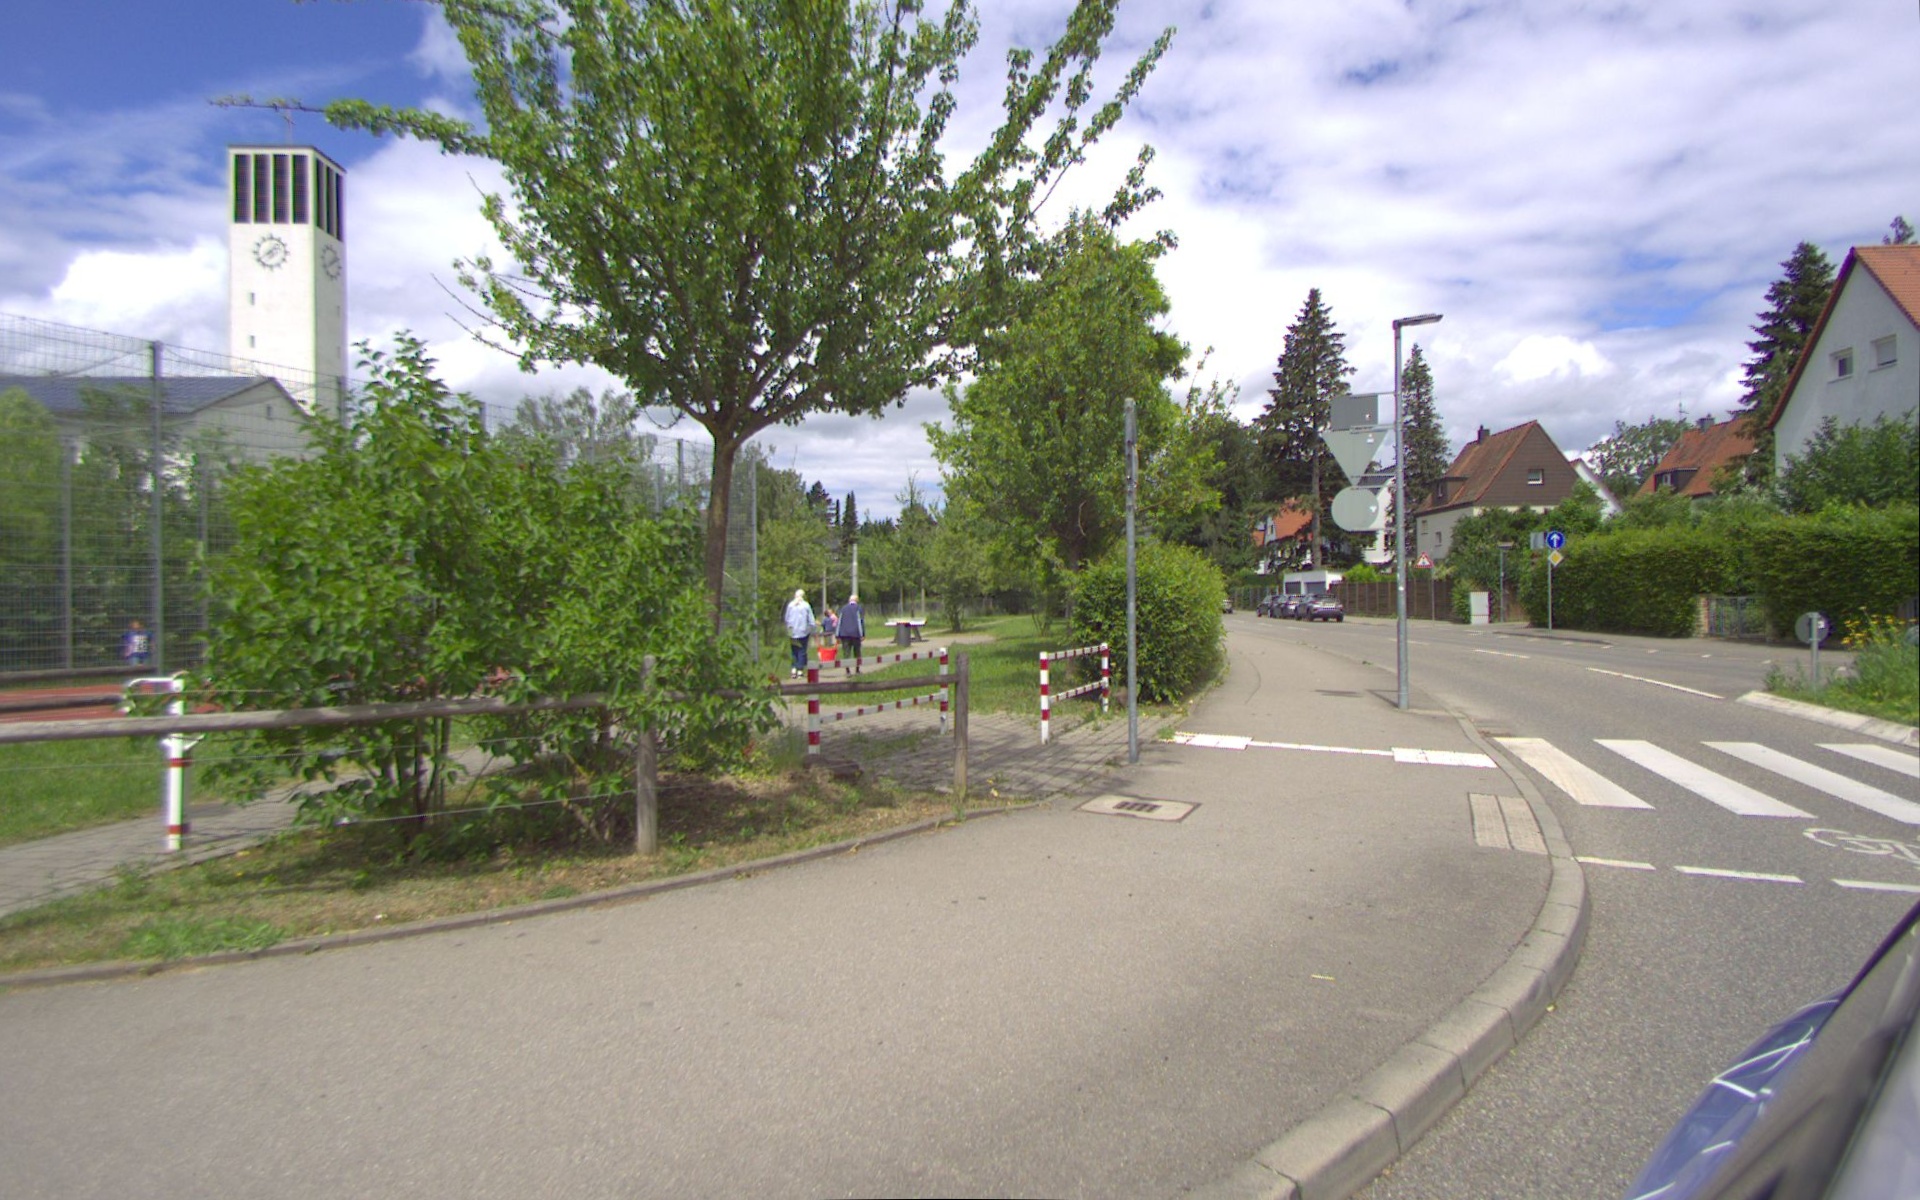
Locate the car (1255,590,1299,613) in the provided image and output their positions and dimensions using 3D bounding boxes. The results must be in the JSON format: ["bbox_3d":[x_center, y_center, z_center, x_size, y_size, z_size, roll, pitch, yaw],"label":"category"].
[{"bbox_3d":[20.456,0.123,65.417,1.625,1.445,3.904,0,0,1],"label":"car"}]

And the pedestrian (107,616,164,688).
[{"bbox_3d":[-16.268,1.020,19.982,0.783,1.364,0.462,-2,-1,-34],"label":"pedestrian"}]

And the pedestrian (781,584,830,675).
[{"bbox_3d":[-3.043,0.565,19.960,0.877,1.715,0.932,-2,-1,-8],"label":"pedestrian"}]

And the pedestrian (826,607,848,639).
[{"bbox_3d":[-4.867,0.899,40.103,0.542,1.261,0.793,0,0,21],"label":"pedestrian"}]

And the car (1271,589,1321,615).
[{"bbox_3d":[19.987,0.083,60.363,1.840,1.477,4.481,-1,0,6],"label":"car"}]

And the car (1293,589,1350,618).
[{"bbox_3d":[19.586,0.136,55.024,1.966,1.498,4.638,0,0,7],"label":"car"}]

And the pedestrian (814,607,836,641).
[{"bbox_3d":[-5.234,0.922,39.259,0.559,1.249,0.793,0,0,21],"label":"pedestrian"}]

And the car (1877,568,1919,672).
[{"bbox_3d":[17.666,0.300,15.966,2.097,1.795,4.466,-2,0,-3],"label":"car"}]

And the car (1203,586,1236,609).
[{"bbox_3d":[22.026,-0.174,85.905,1.956,1.842,4.700,-1,0,5],"label":"car"}]

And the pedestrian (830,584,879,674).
[{"bbox_3d":[-2.112,0.567,20.208,0.877,1.715,0.932,-2,-1,-8],"label":"pedestrian"}]
